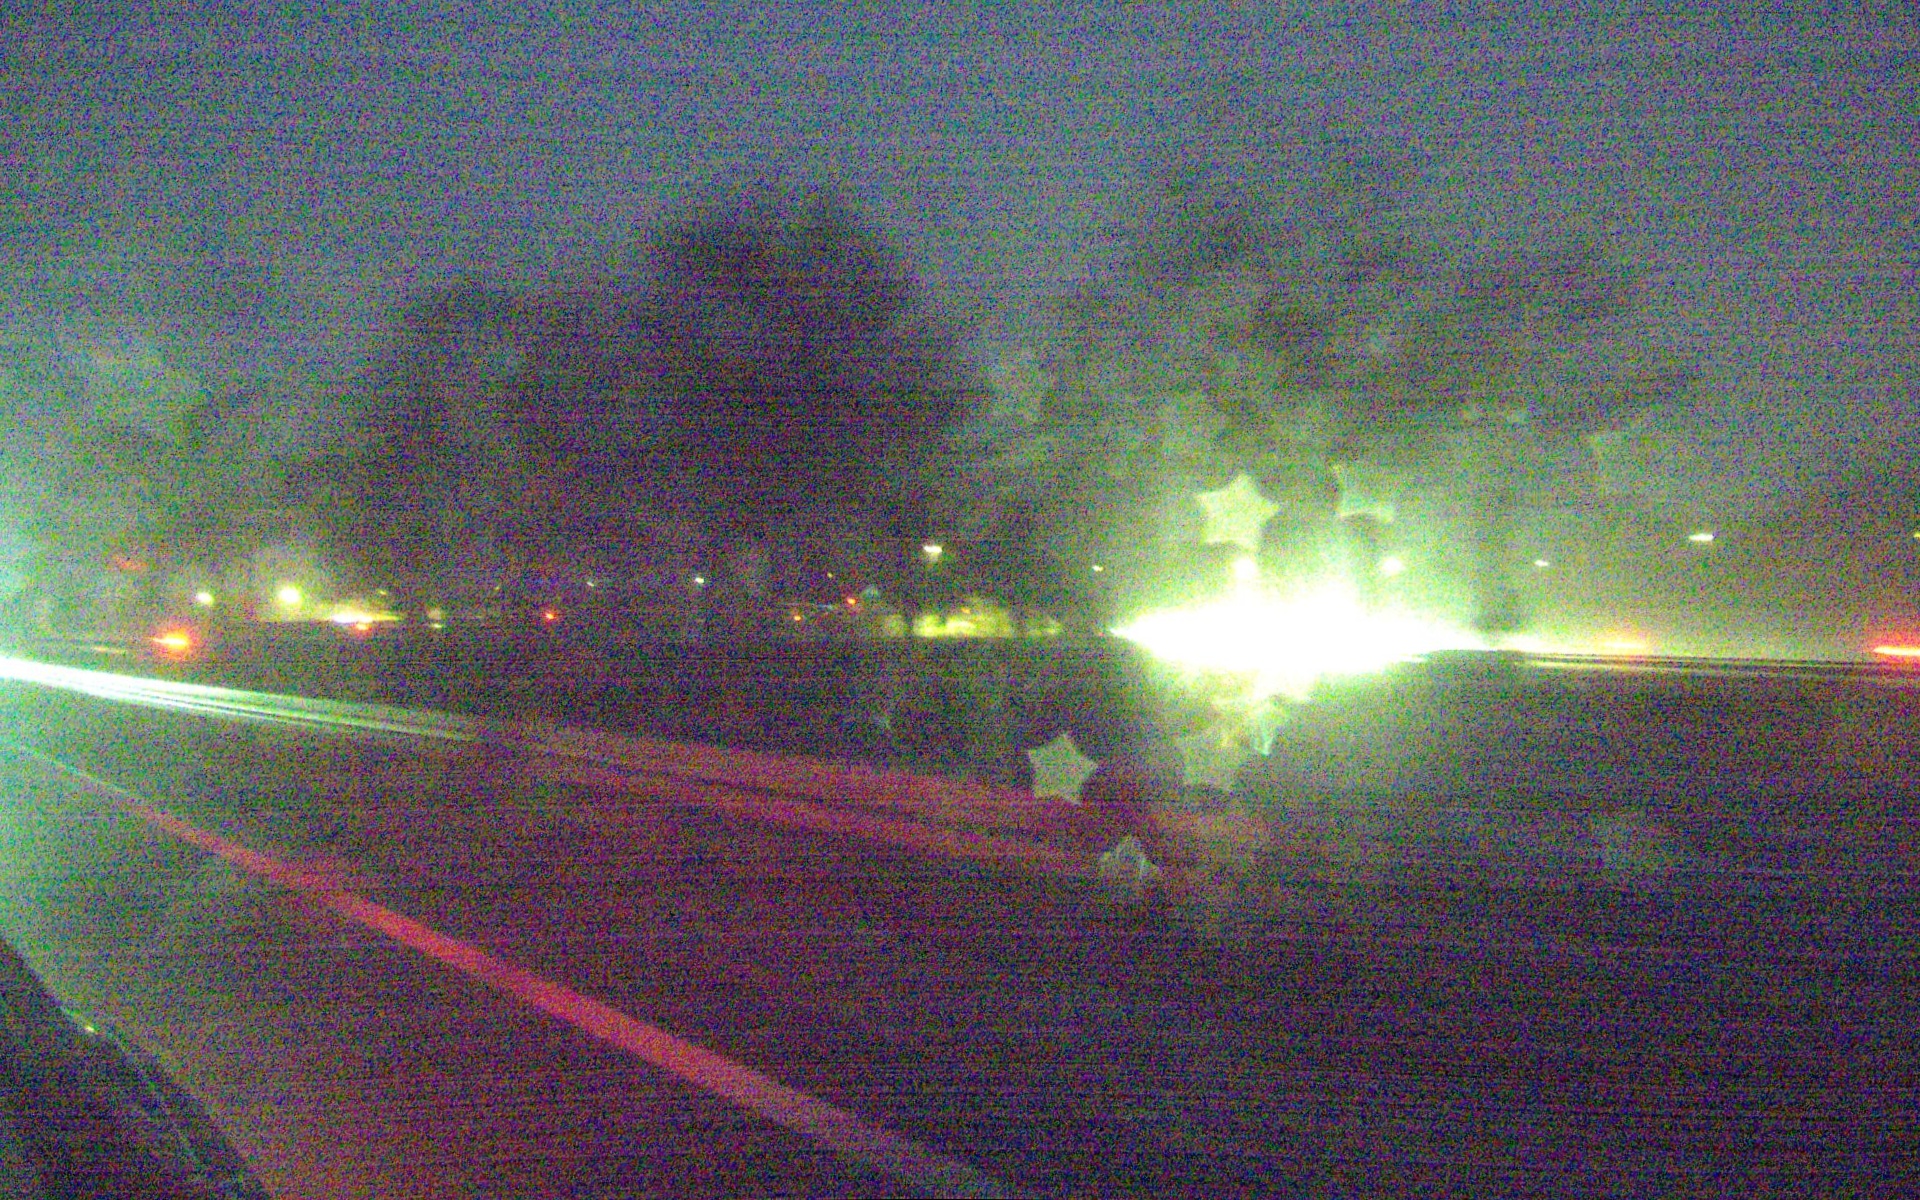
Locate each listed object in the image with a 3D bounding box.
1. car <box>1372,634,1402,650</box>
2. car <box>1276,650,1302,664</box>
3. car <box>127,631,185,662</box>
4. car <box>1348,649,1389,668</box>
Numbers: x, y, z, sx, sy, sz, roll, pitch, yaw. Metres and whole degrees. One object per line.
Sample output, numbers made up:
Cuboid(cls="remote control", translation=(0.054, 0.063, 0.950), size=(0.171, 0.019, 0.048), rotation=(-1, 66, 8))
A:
Cuboid(cls="car", translation=(57.851, 5.654, 137.309), size=(1.971, 2.029, 4.471), rotation=(-1, -2, -2))
Cuboid(cls="car", translation=(41.895, 7.247, 128.888), size=(1.895, 1.608, 4.000), rotation=(1, -2, -1))
Cuboid(cls="car", translation=(-44.281, 2.561, 55.715), size=(3.996, 1.652, 1.736), rotation=(-3, -3, 40))
Cuboid(cls="car", translation=(36.944, 5.286, 91.668), size=(1.894, 1.608, 4.002), rotation=(1, -2, -3))
